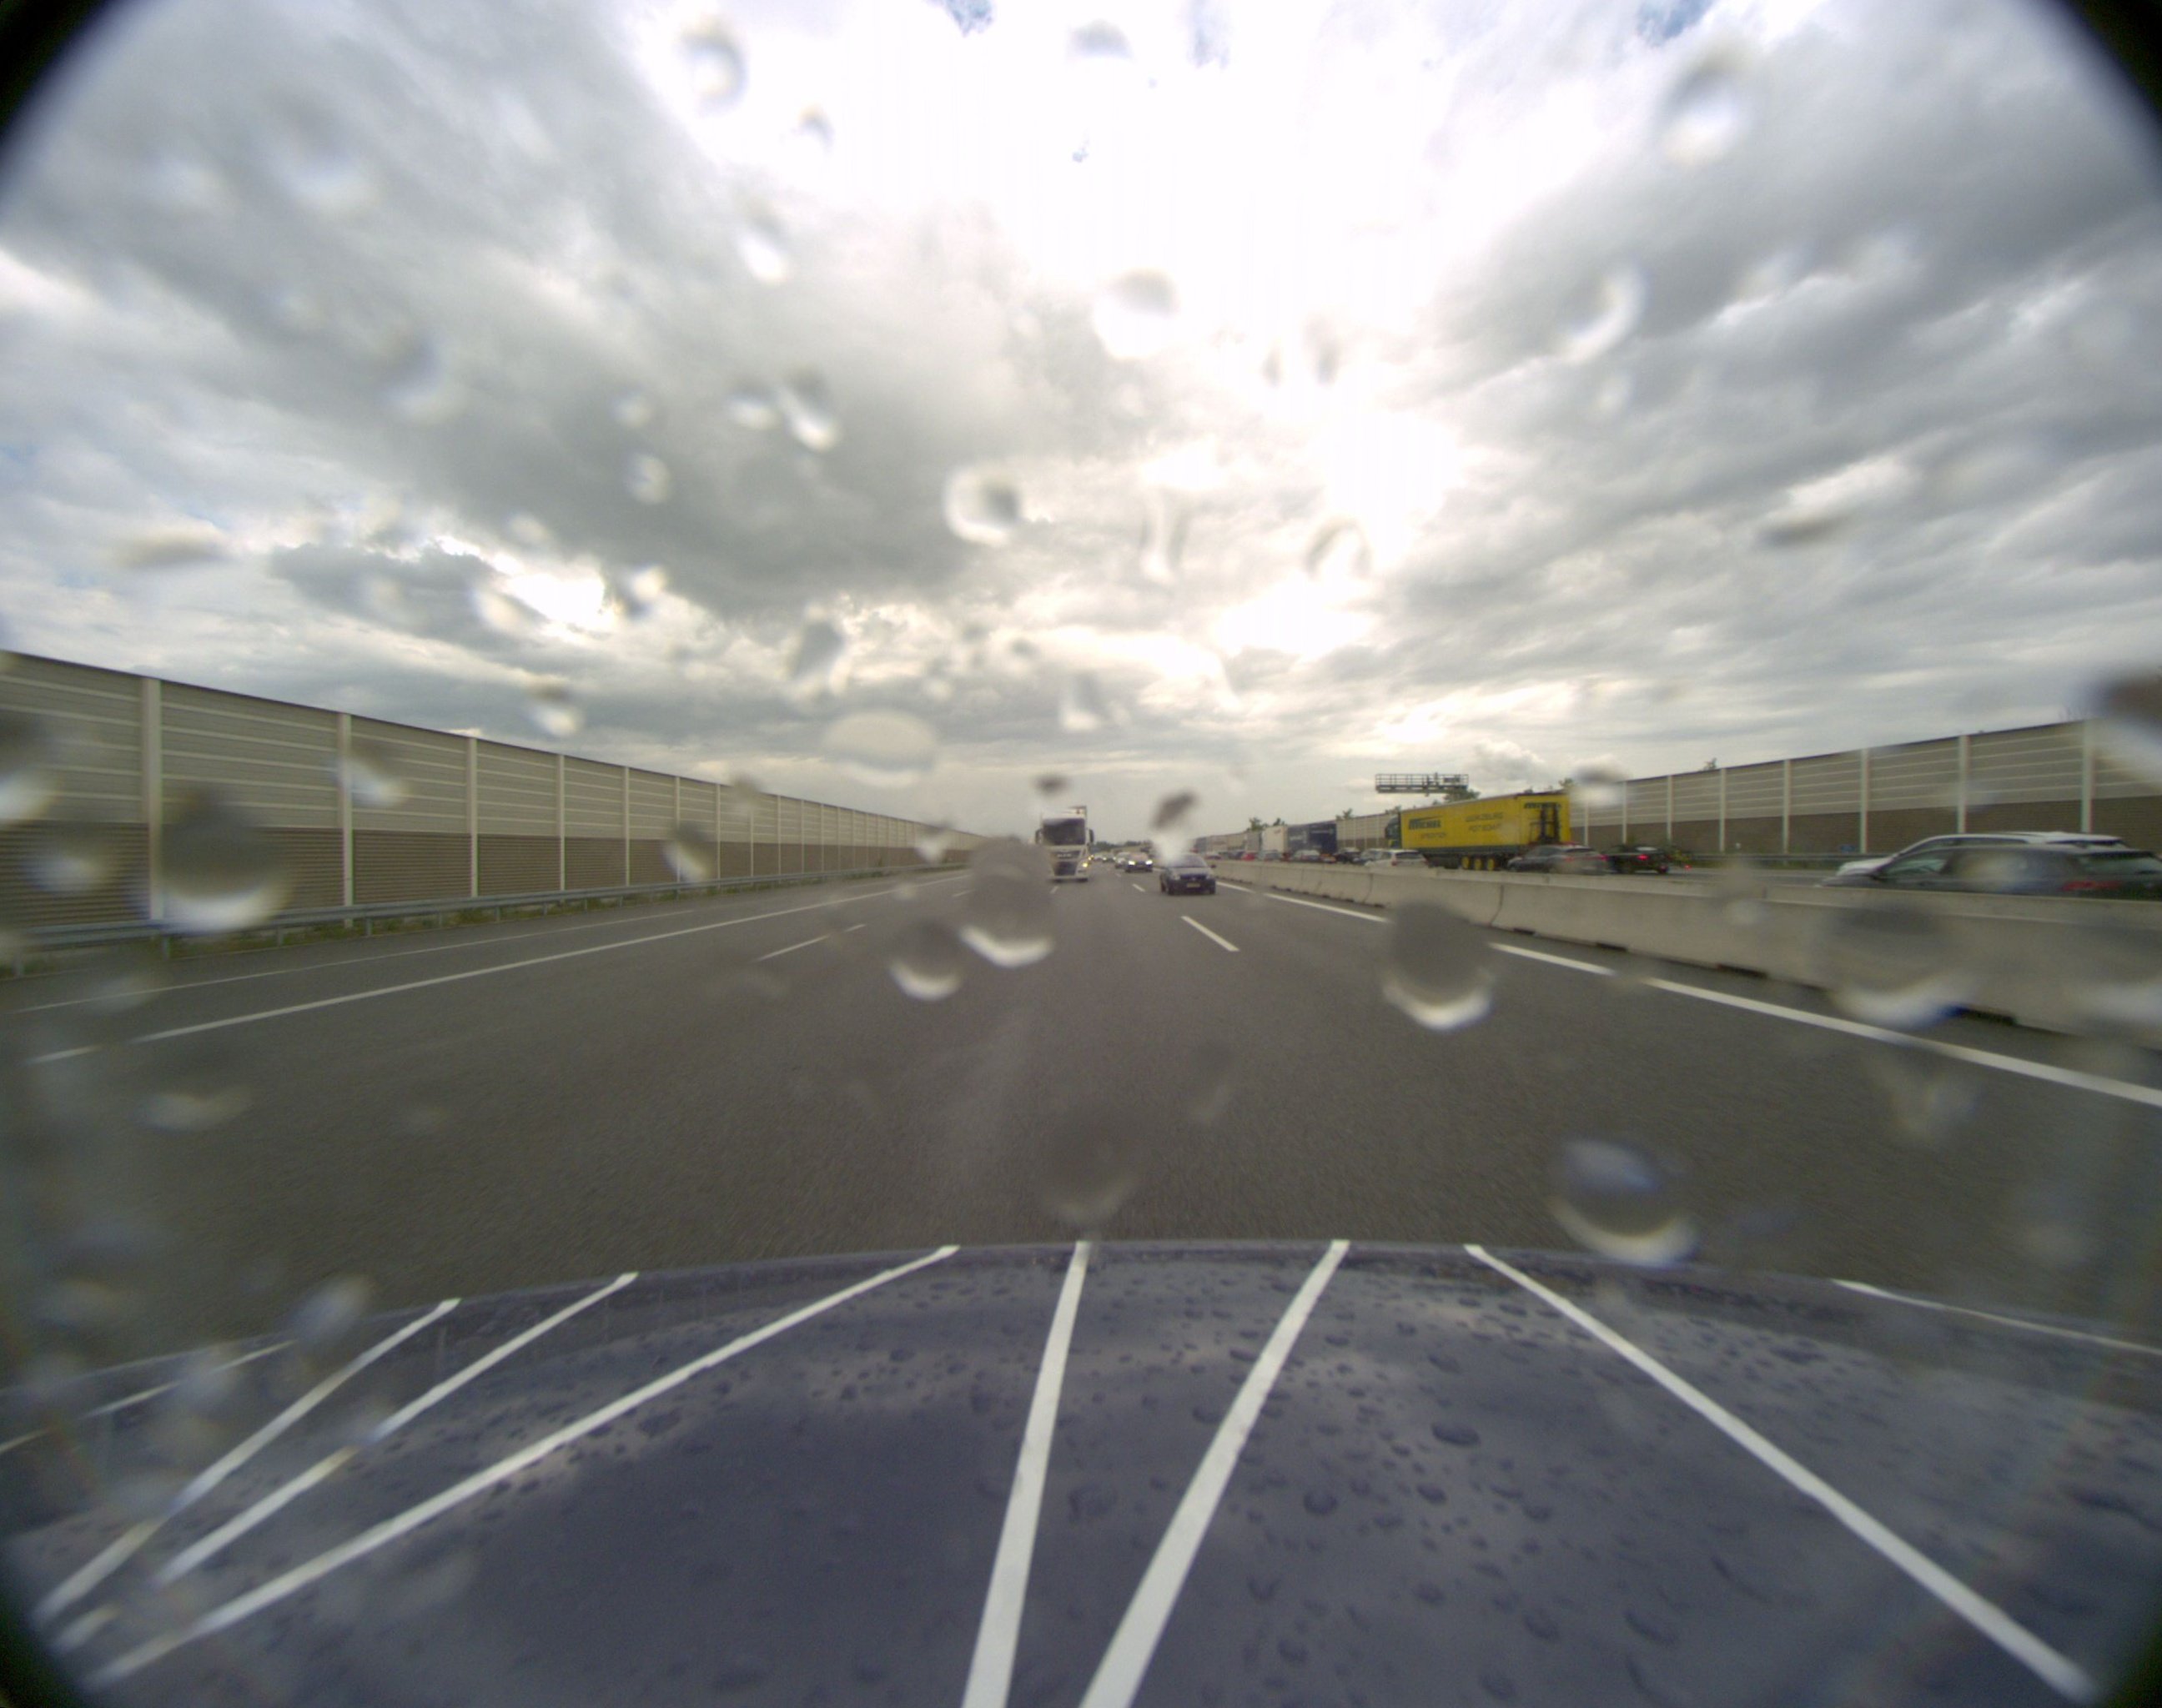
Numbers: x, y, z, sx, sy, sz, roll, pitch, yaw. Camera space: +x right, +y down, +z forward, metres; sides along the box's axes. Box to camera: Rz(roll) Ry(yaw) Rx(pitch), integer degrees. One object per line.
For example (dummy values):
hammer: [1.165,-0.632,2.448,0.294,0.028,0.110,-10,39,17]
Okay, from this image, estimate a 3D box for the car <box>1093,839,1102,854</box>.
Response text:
car: [3.412,-1.532,161.142,1.645,3.041,4.588,-2,1,-1]

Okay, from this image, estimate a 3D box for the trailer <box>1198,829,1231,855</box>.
trailer: [22.147,-1.936,126.914,3.066,4.136,14.314,-2,0,0]

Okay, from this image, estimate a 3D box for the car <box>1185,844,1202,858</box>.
car: [18.168,-0.562,122.856,2.066,2.146,5.432,-2,0,0]

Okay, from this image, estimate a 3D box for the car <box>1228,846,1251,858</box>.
car: [22.393,-0.347,107.543,2.066,1.591,5.807,-2,0,0]

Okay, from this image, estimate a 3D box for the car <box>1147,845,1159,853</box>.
car: [14.587,-1.024,154.069,1.817,1.622,4.208,-2,0,-2]

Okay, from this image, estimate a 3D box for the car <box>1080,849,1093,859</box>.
car: [0.730,-0.014,105.020,1.732,1.395,4.000,-2,1,1]

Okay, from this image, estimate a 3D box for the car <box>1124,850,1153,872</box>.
car: [4.190,0.464,55.828,1.776,1.451,4.479,-2,1,0]

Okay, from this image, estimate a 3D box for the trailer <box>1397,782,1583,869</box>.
trailer: [22.446,-1.431,43.293,2.768,4.008,14.450,-2,1,0]

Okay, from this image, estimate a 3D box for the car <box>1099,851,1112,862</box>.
car: [3.187,0.344,99.207,1.498,1.395,4.000,-2,1,1]

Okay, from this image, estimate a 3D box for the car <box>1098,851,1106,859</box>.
car: [3.860,0.241,139.321,1.498,1.395,4.000,-2,1,1]

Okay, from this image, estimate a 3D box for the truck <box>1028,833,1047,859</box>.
truck: [-7.204,-1.343,126.858,2.599,4.088,11.369,-2,1,-1]

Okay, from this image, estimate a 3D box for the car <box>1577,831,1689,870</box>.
car: [26.228,-0.164,36.310,2.066,1.690,4.410,-2,0,-1]

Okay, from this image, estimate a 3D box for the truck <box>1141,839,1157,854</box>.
truck: [23.697,-2.641,266.830,3.448,4.829,17.225,-2,0,-1]

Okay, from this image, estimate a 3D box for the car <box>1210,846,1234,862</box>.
car: [18.504,-0.025,99.766,2.066,1.991,5.807,-2,0,0]

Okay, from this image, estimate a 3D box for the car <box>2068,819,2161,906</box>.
car: [22.083,0.146,13.992,2.066,1.690,4.410,-2,0,-1]

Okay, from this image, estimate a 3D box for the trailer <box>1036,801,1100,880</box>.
trailer: [-0.553,-0.801,47.765,2.925,4.188,13.197,-3,1,3]

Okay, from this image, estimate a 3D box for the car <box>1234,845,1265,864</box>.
car: [18.911,0.015,85.481,2.066,1.991,5.806,-2,0,-1]

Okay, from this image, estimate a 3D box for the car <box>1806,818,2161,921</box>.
car: [18.670,0.271,16.074,2.066,1.805,4.777,-2,0,-1]

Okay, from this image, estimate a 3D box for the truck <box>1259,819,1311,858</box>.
truck: [22.547,-1.645,84.624,2.945,3.922,11.066,-2,0,1]

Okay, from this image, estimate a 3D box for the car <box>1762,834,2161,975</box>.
car: [14.230,0.641,12.312,2.066,1.805,4.777,-2,0,-1]

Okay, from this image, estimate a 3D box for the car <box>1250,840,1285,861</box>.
car: [18.700,-0.364,76.484,2.066,1.991,5.806,-2,0,-1]

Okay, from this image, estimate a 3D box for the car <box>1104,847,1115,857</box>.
car: [4.180,-0.323,111.072,1.498,1.395,4.000,-2,1,1]

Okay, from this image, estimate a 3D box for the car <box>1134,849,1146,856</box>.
car: [13.287,-0.317,171.011,1.925,1.622,4.694,-2,0,-3]

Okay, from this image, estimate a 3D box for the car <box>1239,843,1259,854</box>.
car: [27.144,-0.901,122.915,2.066,1.591,5.807,-2,0,0]

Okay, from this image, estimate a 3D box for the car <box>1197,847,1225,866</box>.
car: [14.584,0.237,85.506,2.066,1.991,5.806,-2,0,-1]

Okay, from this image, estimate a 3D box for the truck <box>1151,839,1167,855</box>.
truck: [24.387,-2.040,237.620,3.225,4.829,11.695,-2,0,-1]

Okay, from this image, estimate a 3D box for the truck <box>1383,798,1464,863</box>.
truck: [22.466,-1.504,50.191,2.752,4.012,5.725,-2,1,0]

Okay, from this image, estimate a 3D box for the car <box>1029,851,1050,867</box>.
car: [-3.935,0.457,72.632,1.698,1.395,3.999,-2,1,1]

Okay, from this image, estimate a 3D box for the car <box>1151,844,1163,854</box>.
car: [18.128,-1.205,181.829,2.031,2.459,5.147,-2,0,-3]

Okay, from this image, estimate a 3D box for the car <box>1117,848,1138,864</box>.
car: [4.260,0.146,70.390,1.732,1.395,4.000,-2,1,1]

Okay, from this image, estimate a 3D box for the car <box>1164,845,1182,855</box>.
car: [14.359,-0.605,119.116,2.066,1.555,5.807,-2,0,0]

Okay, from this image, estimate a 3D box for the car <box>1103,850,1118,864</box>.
car: [3.183,0.347,82.572,1.498,1.395,3.999,-2,1,0]

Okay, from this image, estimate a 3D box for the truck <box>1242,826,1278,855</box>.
truck: [26.095,-1.887,111.098,2.693,3.876,10.499,-2,0,0]

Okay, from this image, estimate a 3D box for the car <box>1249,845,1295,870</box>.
car: [14.930,0.244,59.627,2.066,1.745,5.806,-2,0,-1]

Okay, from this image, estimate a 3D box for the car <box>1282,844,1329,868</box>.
car: [18.445,0.128,62.829,2.066,1.881,5.806,-2,0,-1]

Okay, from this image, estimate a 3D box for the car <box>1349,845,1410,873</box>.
car: [18.956,0.286,48.481,2.066,1.690,4.410,-2,0,-1]

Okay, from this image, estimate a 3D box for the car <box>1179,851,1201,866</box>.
car: [14.705,0.580,103.145,2.066,1.991,5.806,-2,0,-1]

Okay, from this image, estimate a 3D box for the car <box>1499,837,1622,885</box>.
car: [18.872,0.252,30.180,2.066,1.690,4.410,-2,0,-1]

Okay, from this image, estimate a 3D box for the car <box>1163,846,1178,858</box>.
car: [15.048,-0.329,128.311,1.938,1.886,5.432,-2,0,0]

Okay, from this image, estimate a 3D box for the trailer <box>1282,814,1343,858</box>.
trailer: [22.387,-1.635,74.015,2.938,3.917,10.119,-2,0,1]

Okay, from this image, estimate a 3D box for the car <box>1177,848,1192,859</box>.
car: [18.443,-0.111,135.119,1.938,1.886,5.432,-2,0,0]

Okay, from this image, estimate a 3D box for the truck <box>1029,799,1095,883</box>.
truck: [-0.926,-0.681,41.024,2.912,4.146,5.193,-3,1,4]

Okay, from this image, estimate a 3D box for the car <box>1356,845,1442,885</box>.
car: [14.533,0.460,35.058,2.066,1.690,4.410,-2,0,-1]

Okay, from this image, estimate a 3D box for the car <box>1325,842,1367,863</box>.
car: [25.704,-0.154,73.894,2.066,1.991,5.296,-2,0,-1]

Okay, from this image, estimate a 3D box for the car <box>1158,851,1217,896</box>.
car: [3.732,0.634,27.102,1.578,1.395,4.000,-2,1,1]

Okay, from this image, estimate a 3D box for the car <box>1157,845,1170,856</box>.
car: [15.076,-0.629,138.931,1.924,1.880,5.425,-2,0,0]
